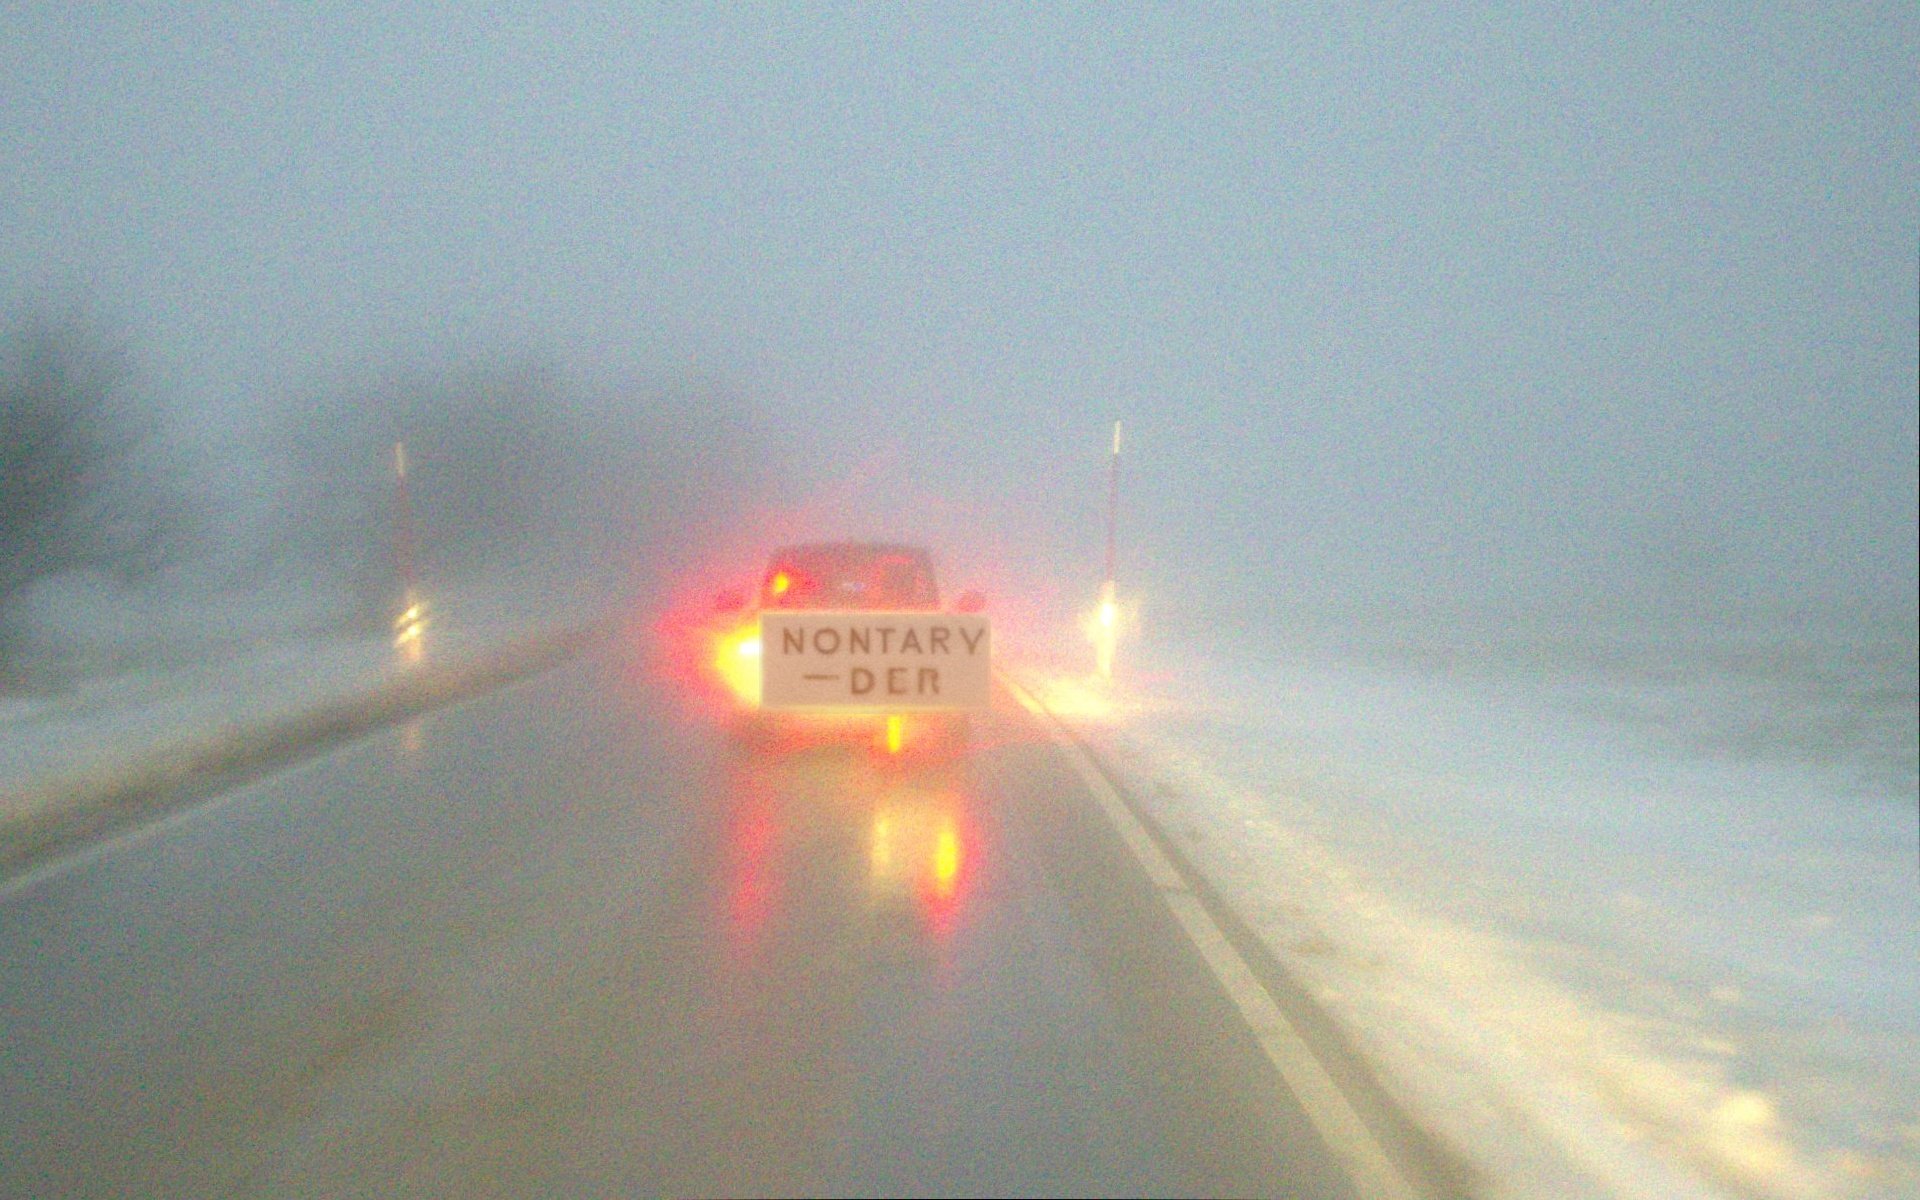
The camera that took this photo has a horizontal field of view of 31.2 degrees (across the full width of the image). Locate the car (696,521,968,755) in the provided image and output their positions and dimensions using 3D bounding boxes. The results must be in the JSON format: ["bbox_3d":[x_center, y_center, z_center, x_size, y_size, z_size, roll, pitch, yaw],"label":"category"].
[{"bbox_3d":[-0.900,0.228,23.990,1.706,1.458,4.000,1,0,-2],"label":"car"}]

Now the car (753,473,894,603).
[{"bbox_3d":[-1.621,-0.725,41.709,1.479,1.503,3.053,-1,0,2],"label":"car"}]
